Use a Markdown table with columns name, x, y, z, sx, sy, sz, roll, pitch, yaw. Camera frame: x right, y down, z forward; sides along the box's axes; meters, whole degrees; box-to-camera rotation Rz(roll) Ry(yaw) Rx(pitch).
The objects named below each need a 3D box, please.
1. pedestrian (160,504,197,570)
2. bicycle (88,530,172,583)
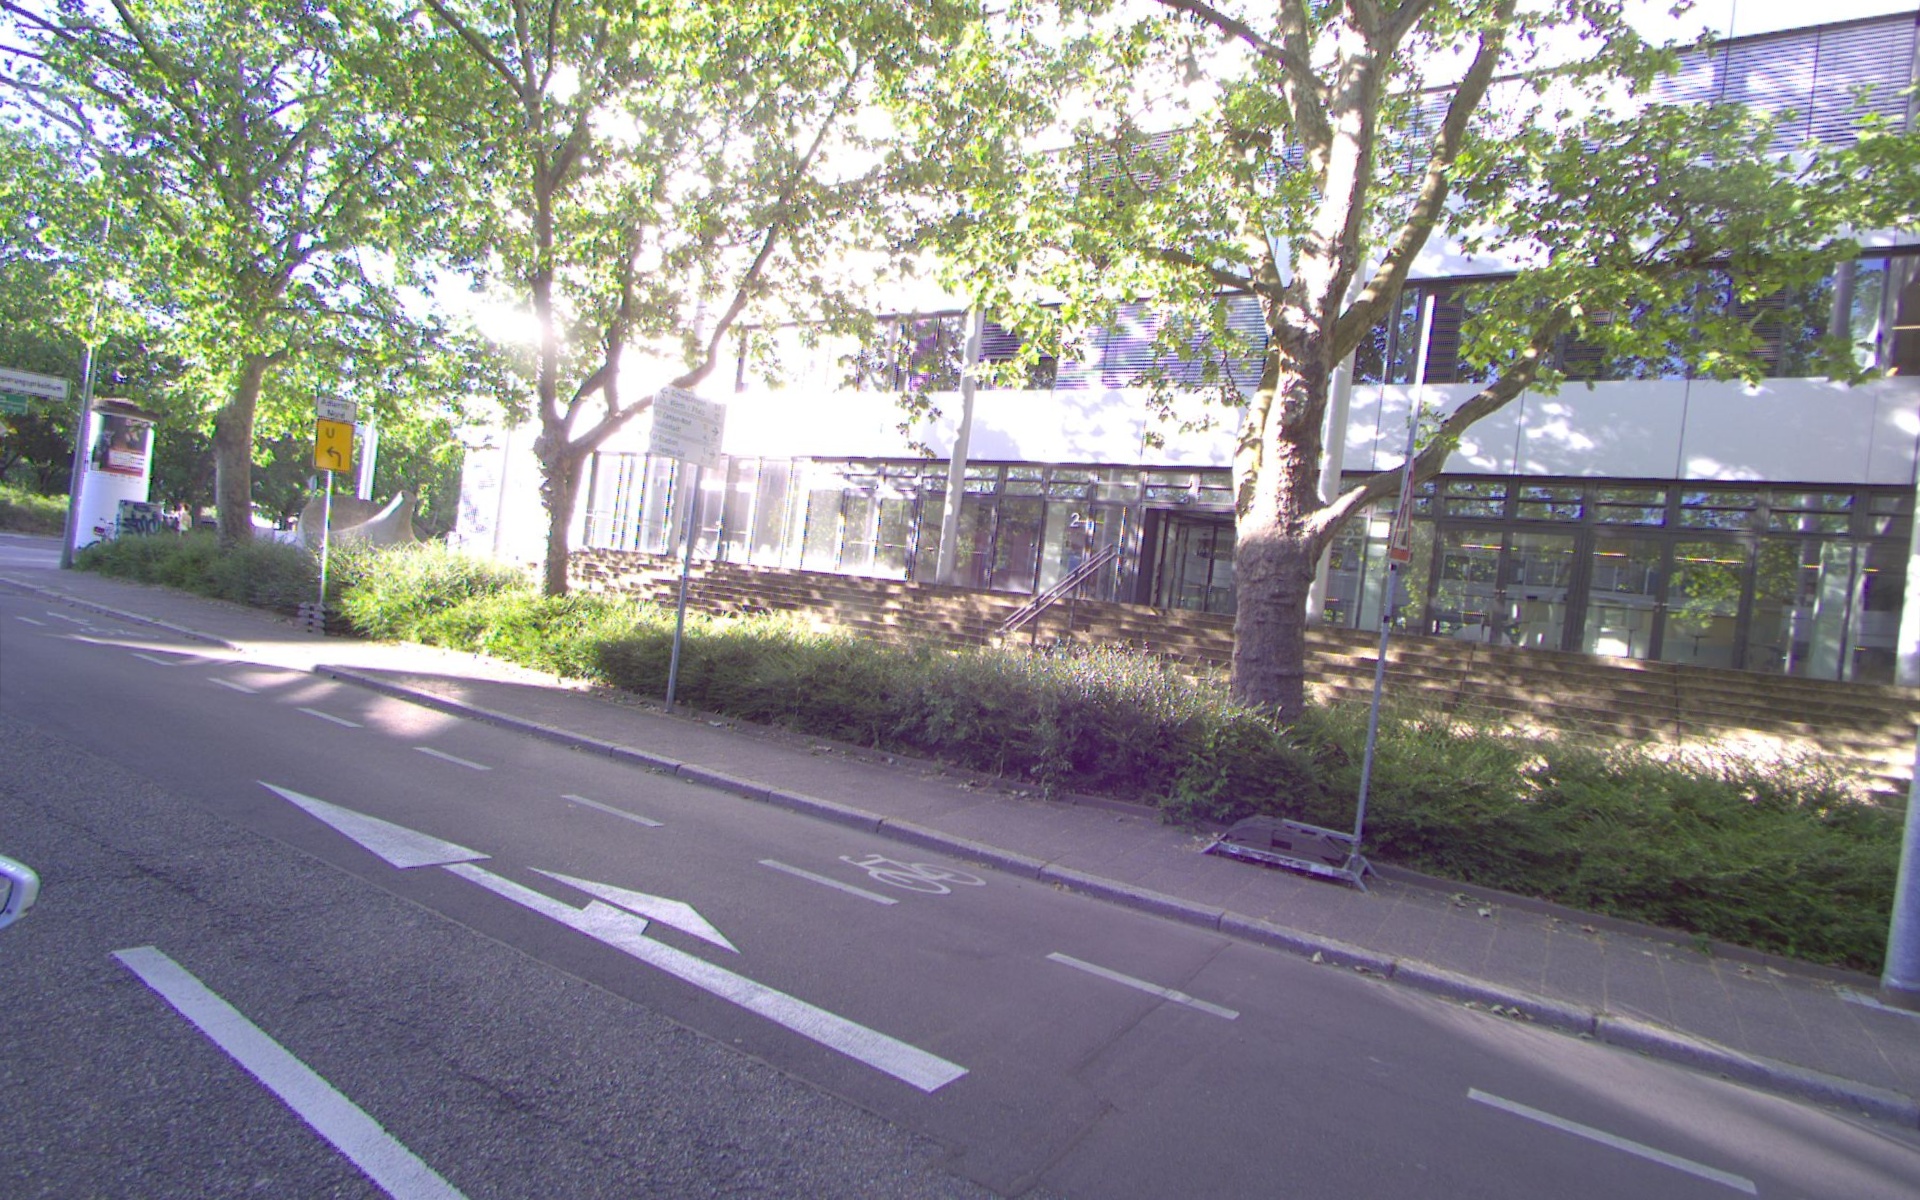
| name | x | y | z | sx | sy | sz | roll | pitch | yaw |
| --- | --- | --- | --- | --- | --- | --- | --- | --- | --- |
| pedestrian | -23.410 | -1.889 | 30.122 | 0.584 | 1.871 | 0.552 | 7 | 0 | 33 |
| bicycle | -19.080 | -0.992 | 23.149 | 0.357 | 1.036 | 1.354 | 7 | -1 | 33 |
